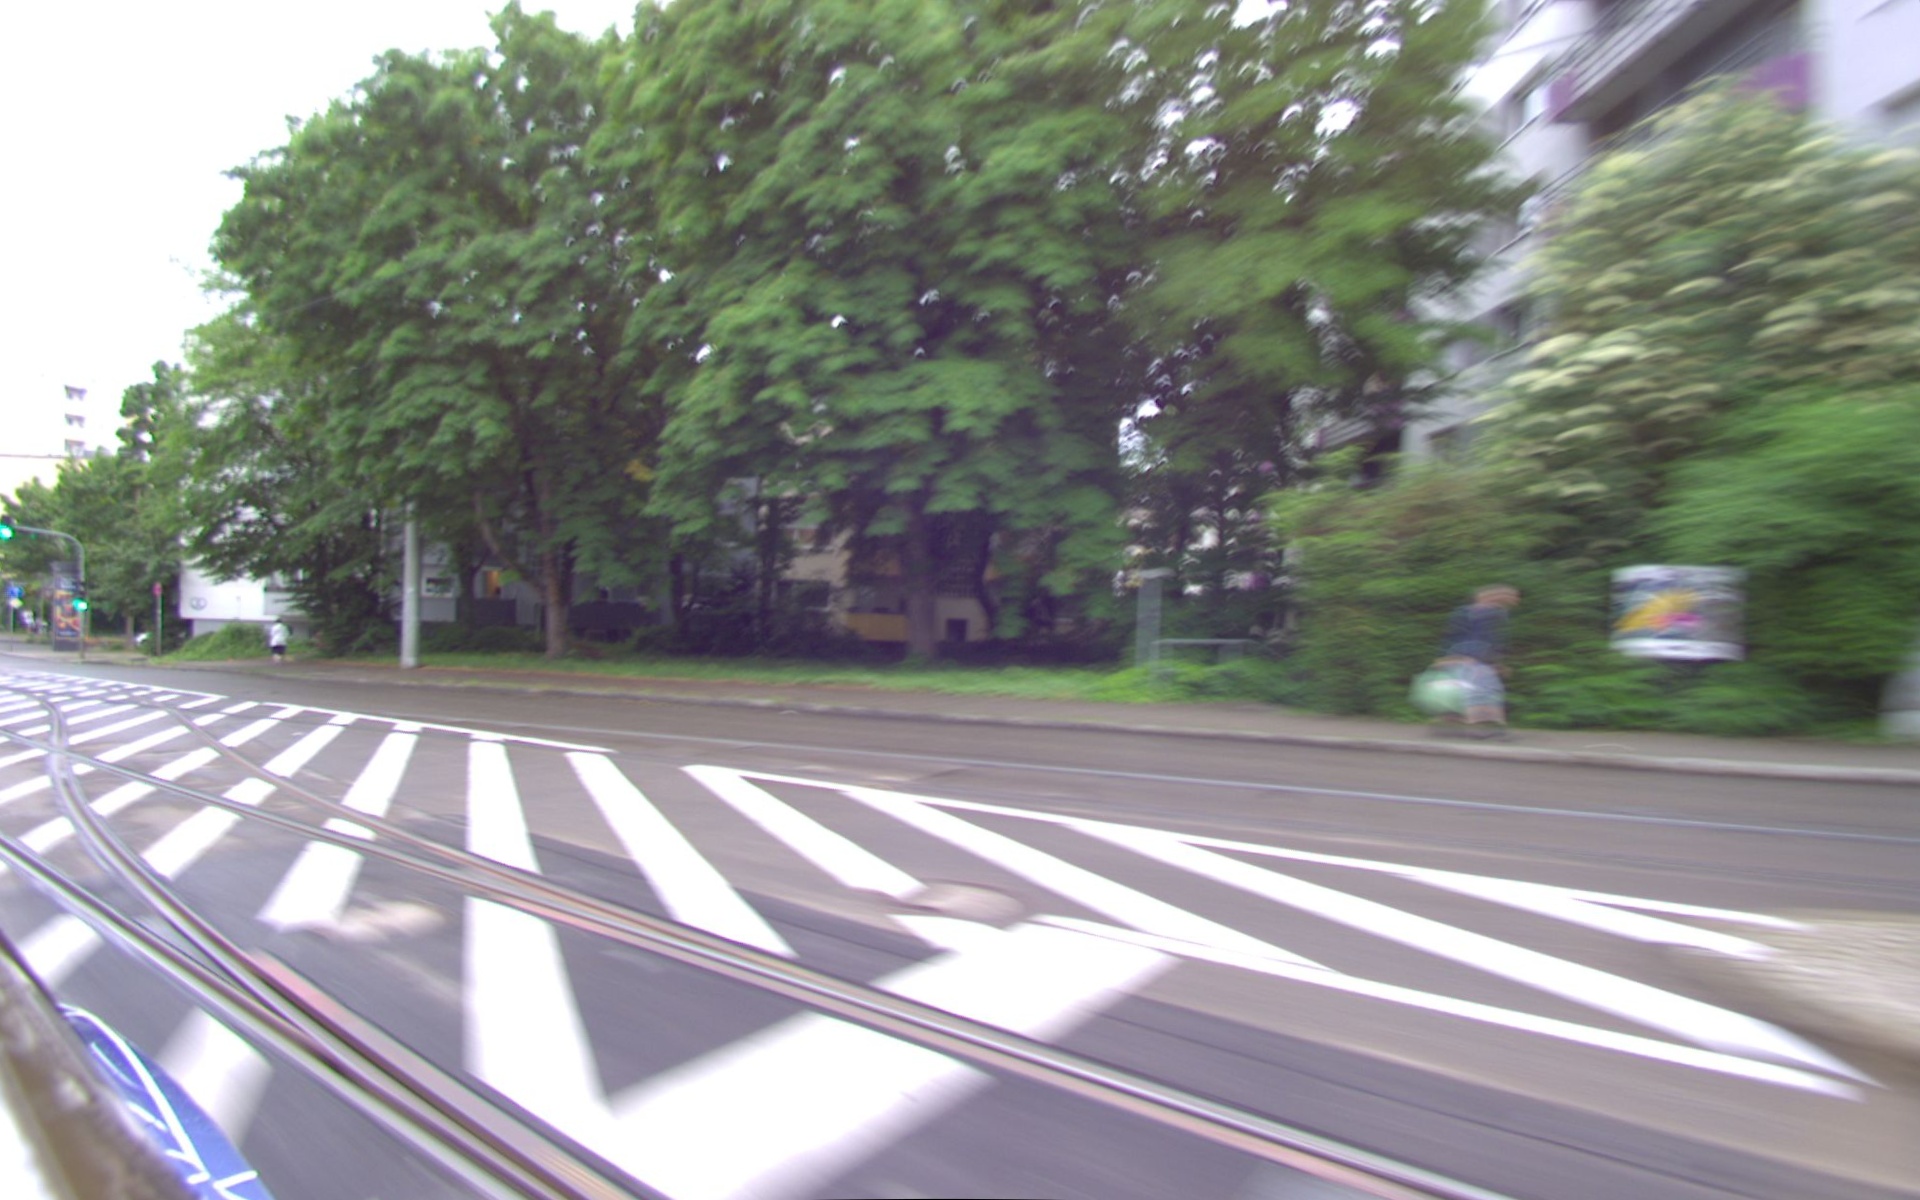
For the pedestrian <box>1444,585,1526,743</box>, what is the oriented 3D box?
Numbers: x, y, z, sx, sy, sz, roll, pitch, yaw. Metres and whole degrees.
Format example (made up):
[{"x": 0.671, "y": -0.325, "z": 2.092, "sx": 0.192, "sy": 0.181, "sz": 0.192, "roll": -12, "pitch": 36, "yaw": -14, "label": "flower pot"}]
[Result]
[{"x": 5.661, "y": 0.659, "z": 10.906, "sx": 0.617, "sy": 1.605, "sz": 0.745, "roll": -1, "pitch": 1, "yaw": 39, "label": "pedestrian"}]

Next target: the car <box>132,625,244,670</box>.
[{"x": -35.664, "y": 2.153, "z": 46.795, "sx": 3.938, "sy": 1.763, "sz": 2.003, "roll": -2, "pitch": 1, "yaw": -41, "label": "car"}]

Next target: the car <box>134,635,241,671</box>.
[{"x": -37.129, "y": 2.521, "z": 48.701, "sx": 3.938, "sy": 1.397, "sz": 1.787, "roll": -2, "pitch": 1, "yaw": -41, "label": "car"}]

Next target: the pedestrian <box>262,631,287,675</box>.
[{"x": -23.150, "y": 1.777, "z": 34.173, "sx": 0.528, "sy": 1.437, "sz": 0.523, "roll": -1, "pitch": 1, "yaw": 39, "label": "pedestrian"}]
